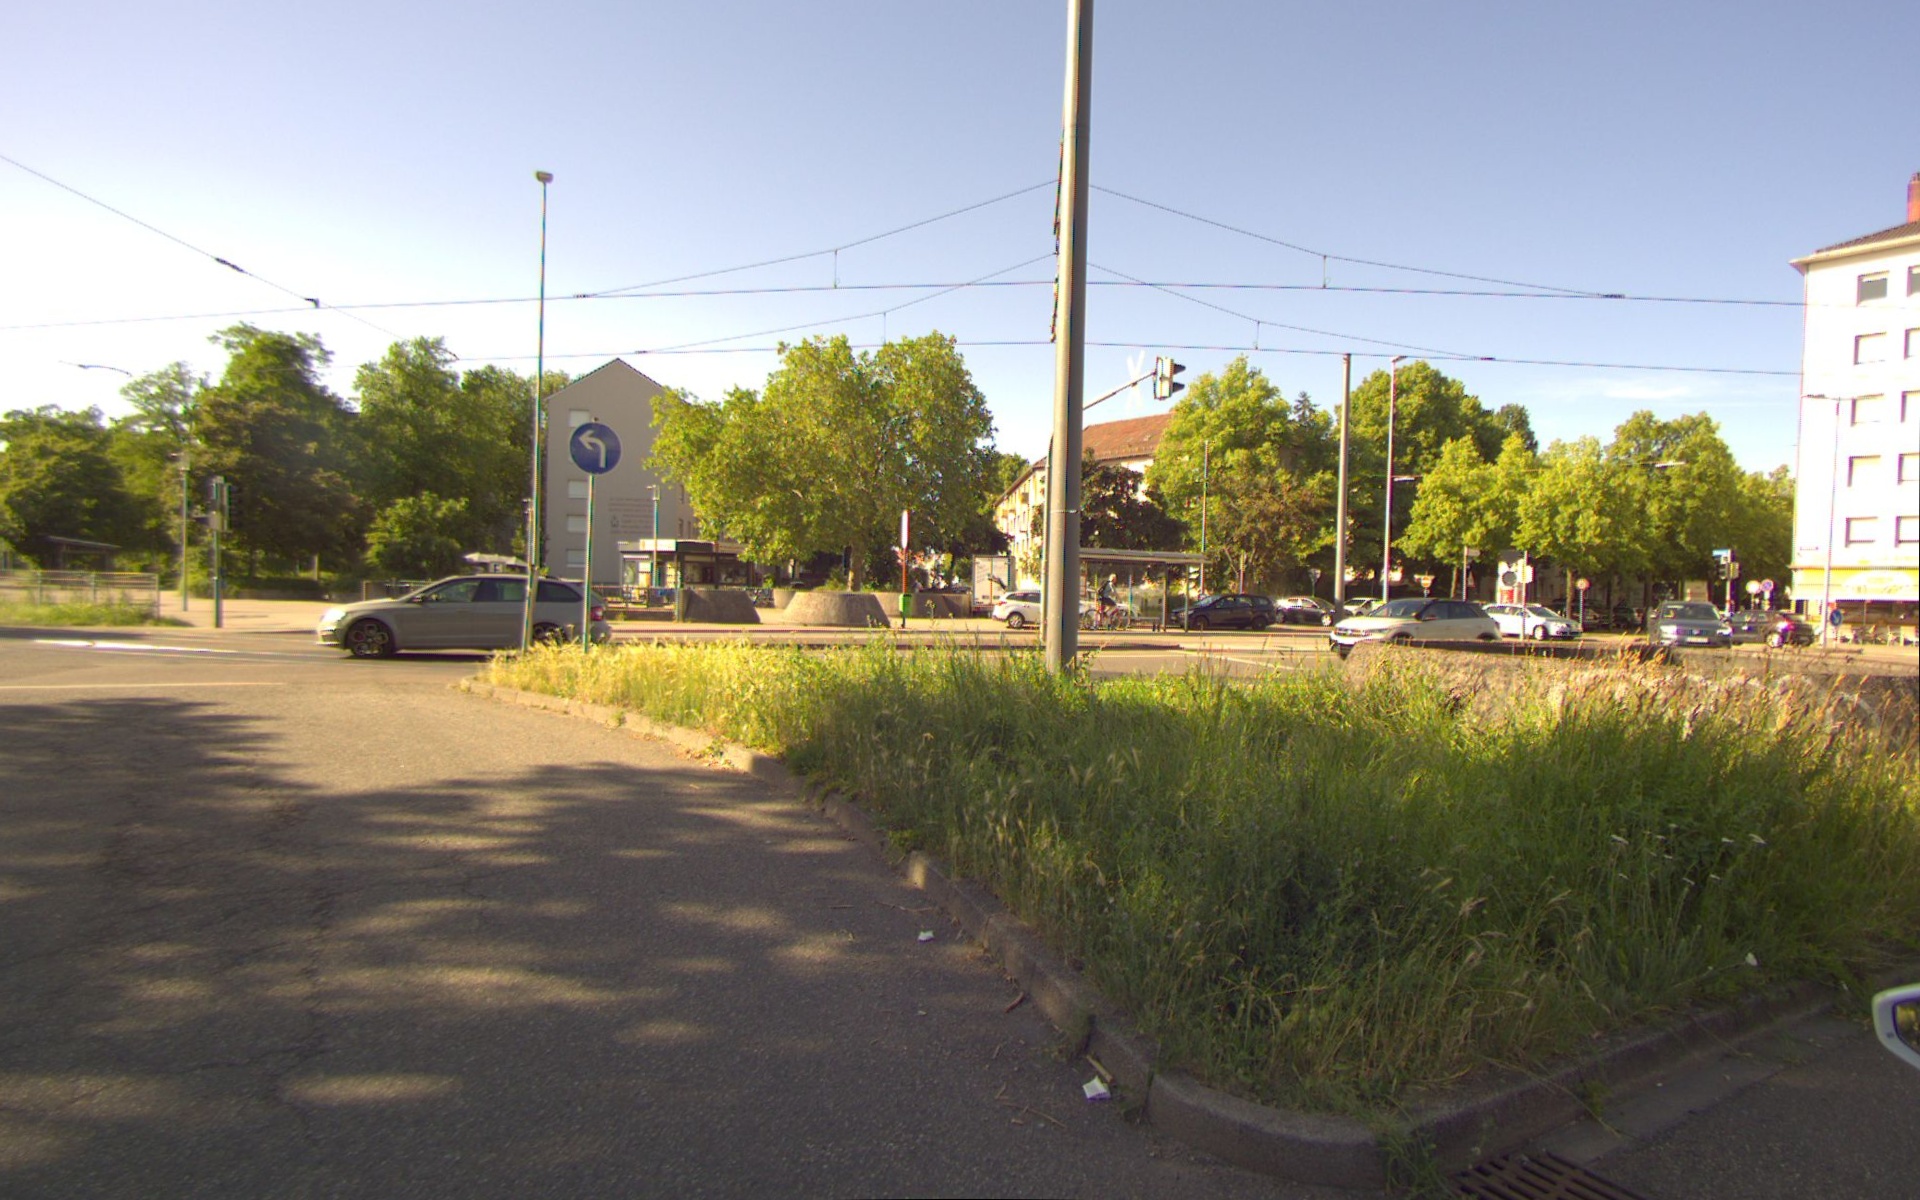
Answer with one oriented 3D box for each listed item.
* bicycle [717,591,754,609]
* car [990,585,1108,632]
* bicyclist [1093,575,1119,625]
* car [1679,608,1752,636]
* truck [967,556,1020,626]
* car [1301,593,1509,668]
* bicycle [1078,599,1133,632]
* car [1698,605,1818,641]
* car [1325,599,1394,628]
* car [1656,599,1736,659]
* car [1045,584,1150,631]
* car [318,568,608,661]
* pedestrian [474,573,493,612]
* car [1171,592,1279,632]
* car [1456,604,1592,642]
[{"bbox_3d":[-10.932,0.002,48.838,1.651,0.850,0.548,2,1,12],"label":"bicycle"},{"bbox_3d":[3.492,0.316,39.243,4.457,1.565,1.873,2,4,8],"label":"car"},{"bbox_3d":[4.631,0.007,31.914,0.663,1.551,0.613,1,2,-4],"label":"bicyclist"},{"bbox_3d":[39.241,1.143,52.144,3.962,1.328,1.979,1,1,-36],"label":"car"},{"bbox_3d":[1.604,-0.439,46.379,1.959,3.035,4.831,1,1,7],"label":"truck"},{"bbox_3d":[10.431,0.709,23.580,4.323,1.583,1.989,1,1,-22],"label":"car"},{"bbox_3d":[4.617,0.487,31.928,1.626,1.015,0.613,1,2,-4],"label":"bicycle"},{"bbox_3d":[32.079,0.895,40.501,1.665,1.270,3.620,1,1,-9],"label":"car"},{"bbox_3d":[24.160,0.828,60.704,4.181,1.639,1.749,1,2,-33],"label":"car"},{"bbox_3d":[22.648,0.840,30.855,1.732,1.635,4.702,2,1,39],"label":"car"},{"bbox_3d":[5.665,0.301,41.693,3.927,1.741,1.760,1,4,-9],"label":"car"},{"bbox_3d":[-8.457,0.260,17.524,4.336,1.468,1.660,1,1,-21],"label":"car"},{"bbox_3d":[-22.789,-0.360,48.050,0.715,1.854,0.558,2,1,-15],"label":"pedestrian"},{"bbox_3d":[10.905,0.487,41.424,3.940,1.509,1.758,1,4,-14],"label":"car"},{"bbox_3d":[23.850,0.939,42.701,1.714,1.461,4.844,1,0,-30],"label":"car"}]
